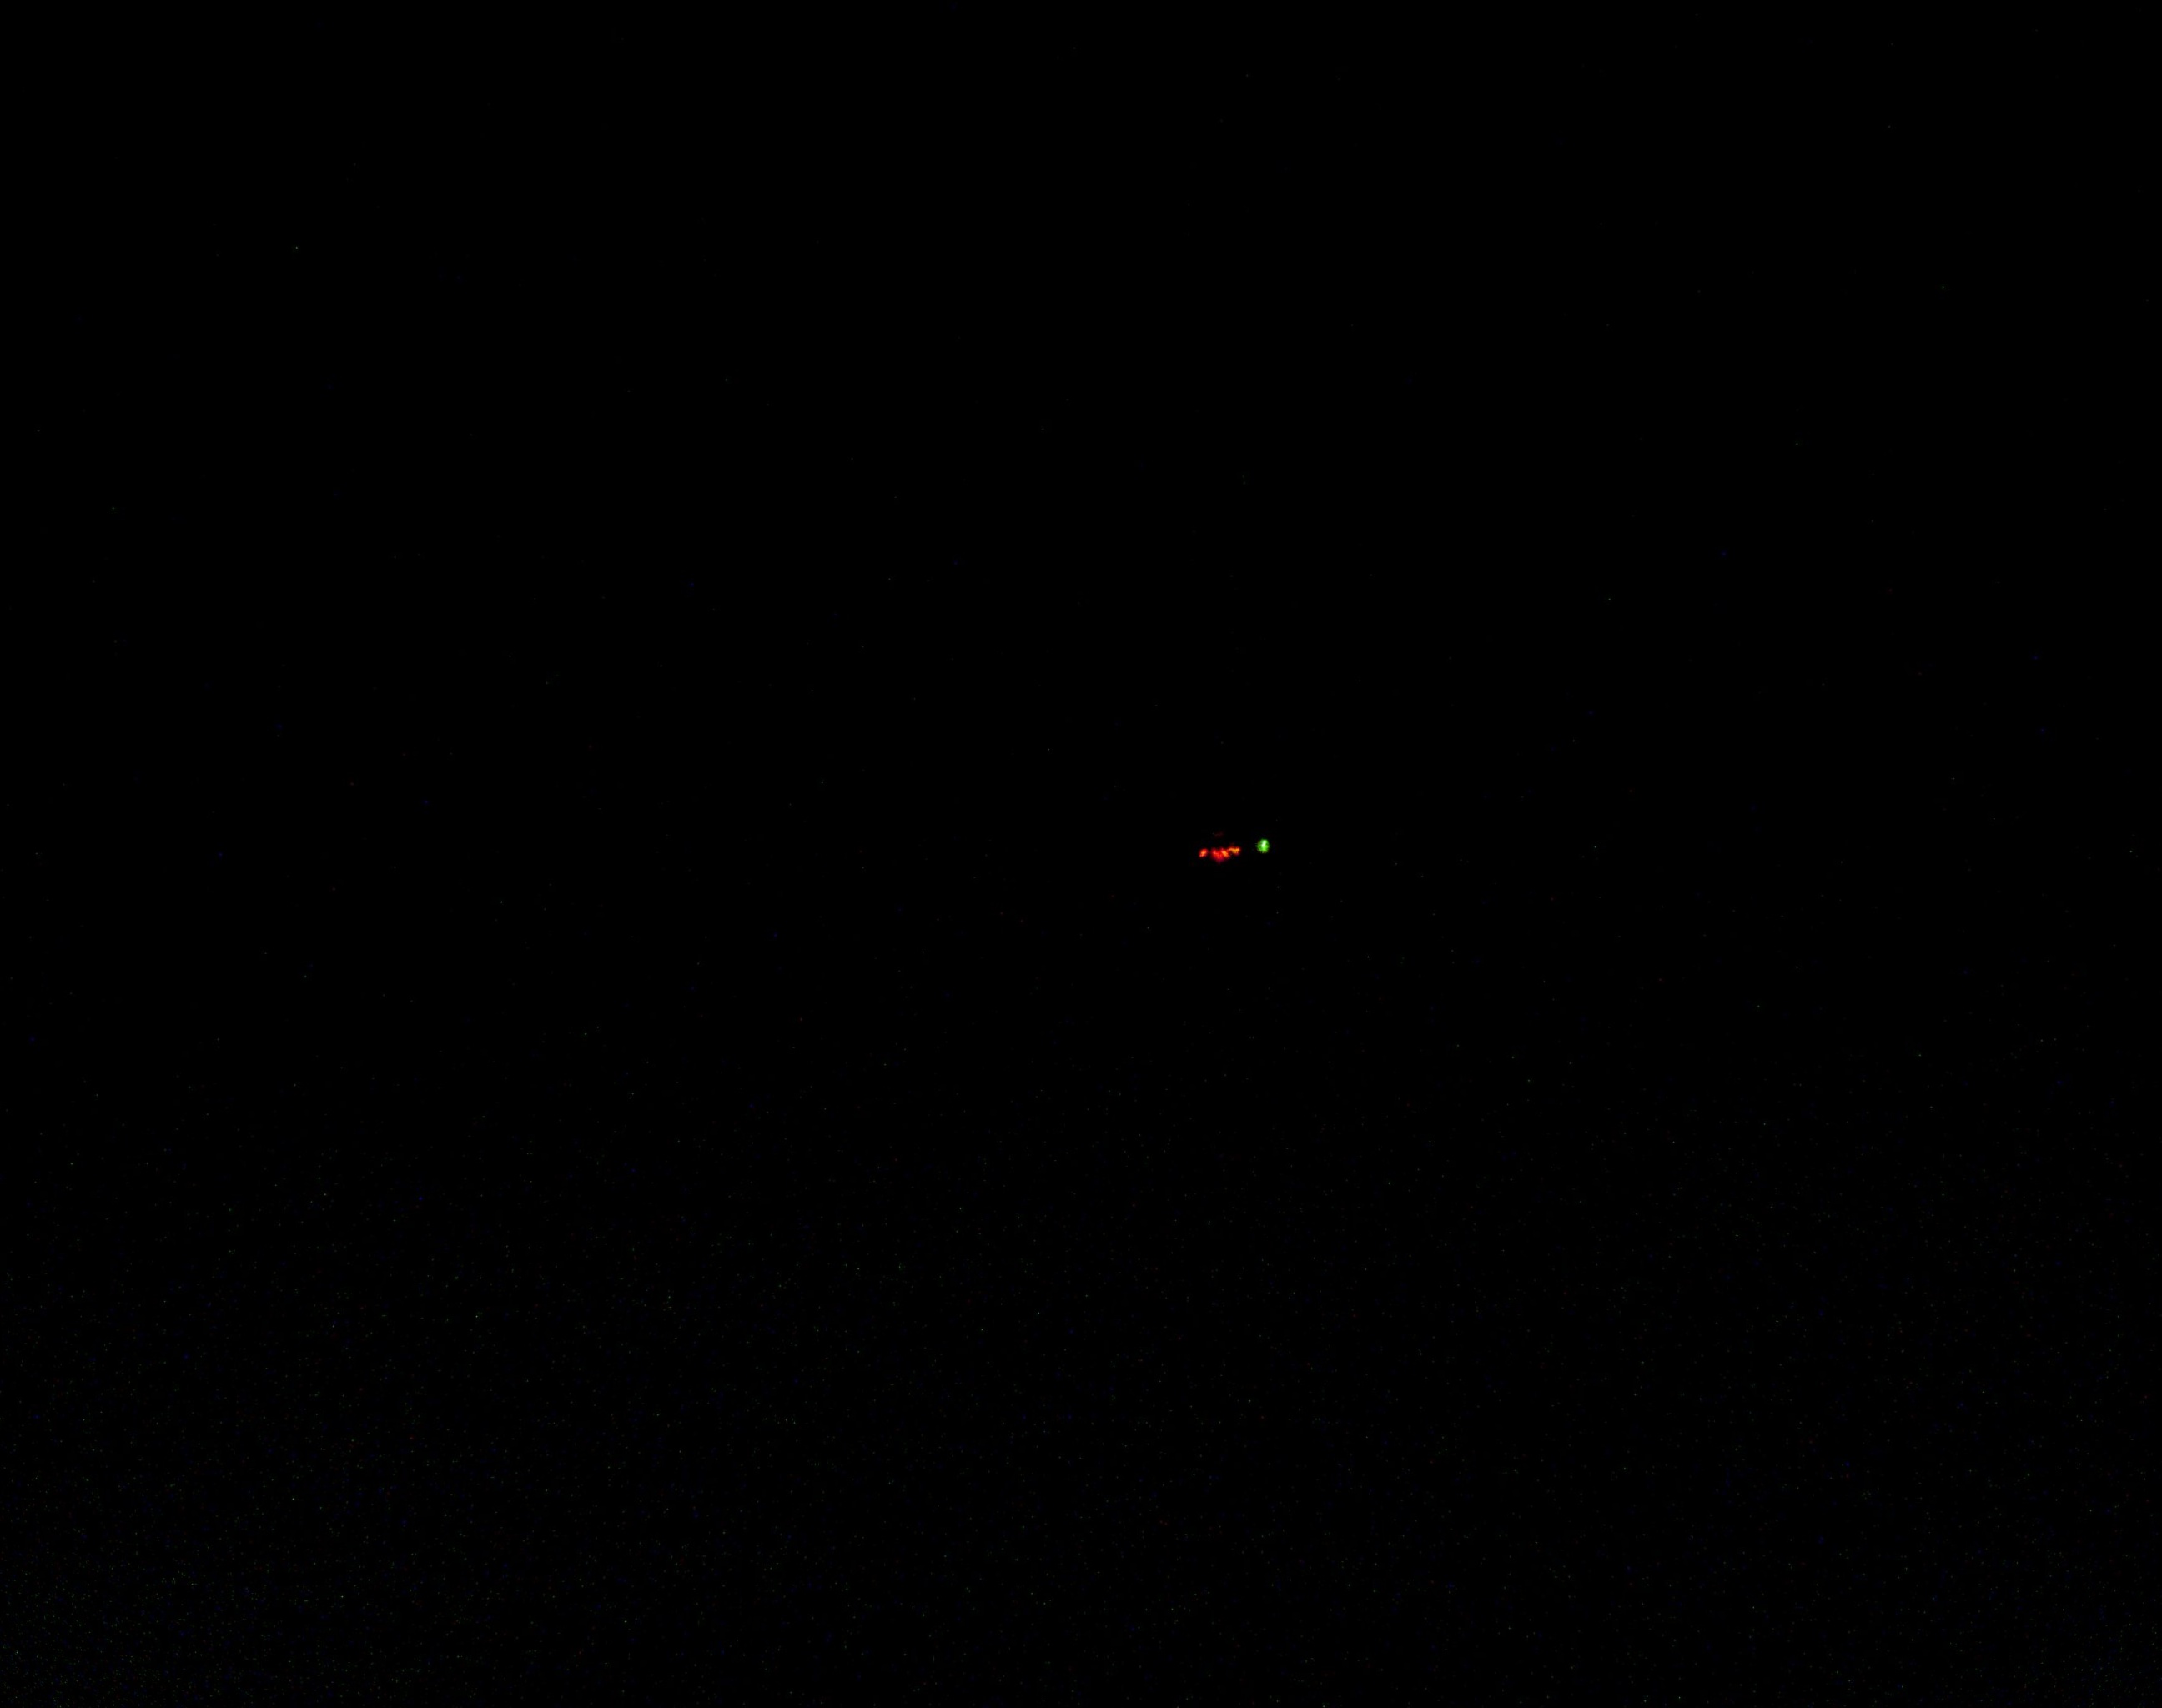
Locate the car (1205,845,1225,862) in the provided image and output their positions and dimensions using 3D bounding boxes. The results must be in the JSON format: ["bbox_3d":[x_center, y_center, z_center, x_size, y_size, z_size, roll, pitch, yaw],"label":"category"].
[{"bbox_3d":[14.121,-0.106,79.978,1.997,1.698,4.987,0,1,10],"label":"car"}]

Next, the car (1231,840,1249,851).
[{"bbox_3d":[22.958,-1.215,109.654,1.932,1.575,4.991,1,1,19],"label":"car"}]
